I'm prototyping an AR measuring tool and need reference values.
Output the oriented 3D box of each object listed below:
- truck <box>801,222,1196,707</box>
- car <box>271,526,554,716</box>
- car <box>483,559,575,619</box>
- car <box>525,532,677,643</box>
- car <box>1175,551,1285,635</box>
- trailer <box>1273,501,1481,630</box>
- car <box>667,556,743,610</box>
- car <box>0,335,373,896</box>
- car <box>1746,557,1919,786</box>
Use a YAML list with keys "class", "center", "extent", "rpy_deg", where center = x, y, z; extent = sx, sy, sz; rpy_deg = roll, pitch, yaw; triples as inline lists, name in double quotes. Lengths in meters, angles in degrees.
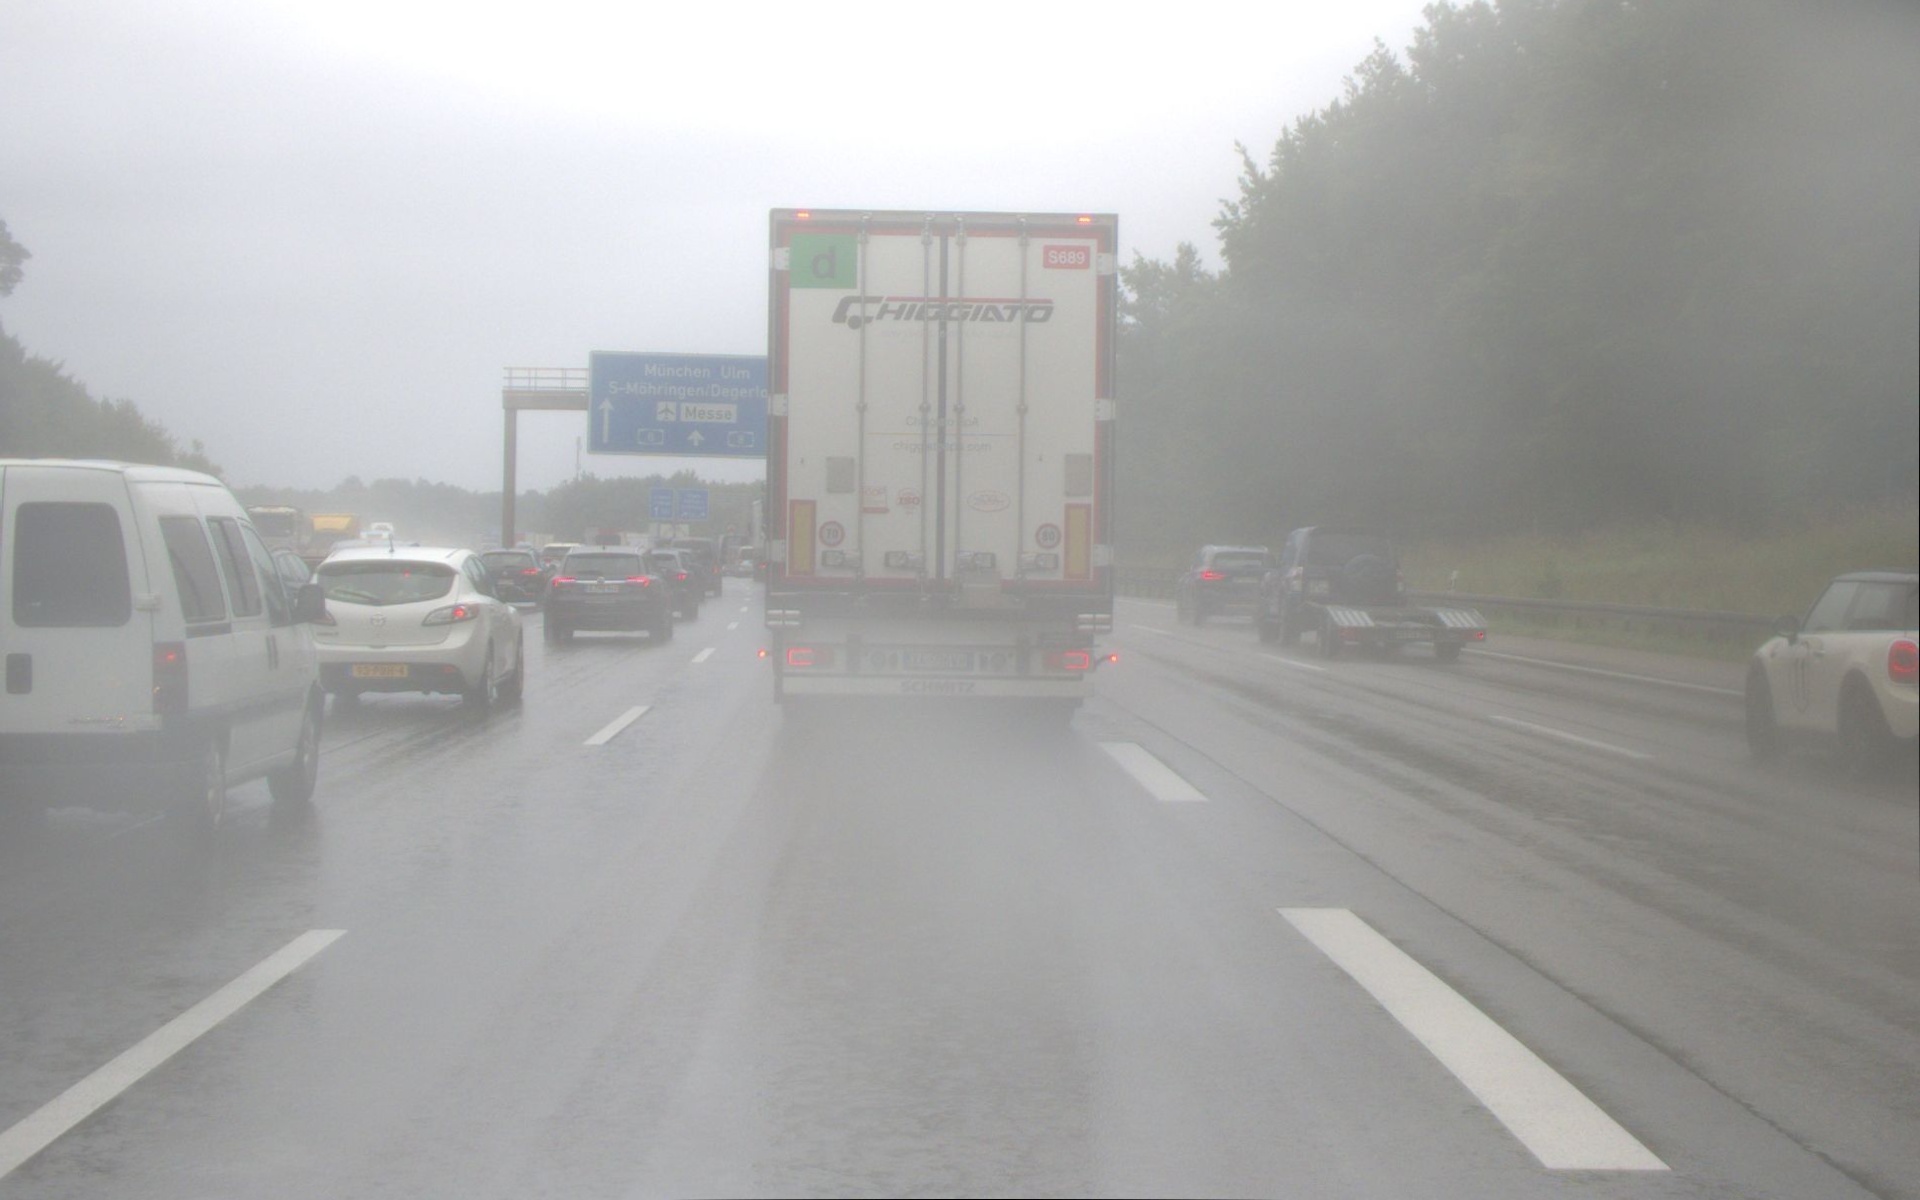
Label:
- class: "truck"
  center: [0.279, -1.067, 31.067]
  extent: [2.872, 3.550, 11.302]
  rpy_deg: [1, 1, 0]
- class: "car"
  center: [-4.895, 0.133, 31.238]
  extent: [1.845, 1.586, 4.072]
  rpy_deg: [1, 1, 1]
- class: "car"
  center: [-10.388, -0.286, 83.105]
  extent: [1.845, 1.326, 4.467]
  rpy_deg: [1, 1, -3]
- class: "car"
  center: [-5.490, -0.229, 52.998]
  extent: [1.845, 1.586, 4.467]
  rpy_deg: [1, 1, 0]
- class: "car"
  center: [5.440, -0.176, 69.702]
  extent: [1.990, 1.578, 4.767]
  rpy_deg: [1, 1, 2]
- class: "trailer"
  center: [5.849, -0.529, 48.886]
  extent: [2.243, 1.708, 5.083]
  rpy_deg: [1, 1, -1]
- class: "car"
  center: [-6.712, -0.474, 90.738]
  extent: [1.845, 1.326, 4.467]
  rpy_deg: [1, 1, -3]
- class: "car"
  center: [-4.616, 0.006, 18.308]
  extent: [2.212, 2.564, 5.016]
  rpy_deg: [1, 1, -1]
- class: "car"
  center: [6.781, 0.434, 23.789]
  extent: [1.790, 1.402, 4.228]
  rpy_deg: [1, 1, 2]
